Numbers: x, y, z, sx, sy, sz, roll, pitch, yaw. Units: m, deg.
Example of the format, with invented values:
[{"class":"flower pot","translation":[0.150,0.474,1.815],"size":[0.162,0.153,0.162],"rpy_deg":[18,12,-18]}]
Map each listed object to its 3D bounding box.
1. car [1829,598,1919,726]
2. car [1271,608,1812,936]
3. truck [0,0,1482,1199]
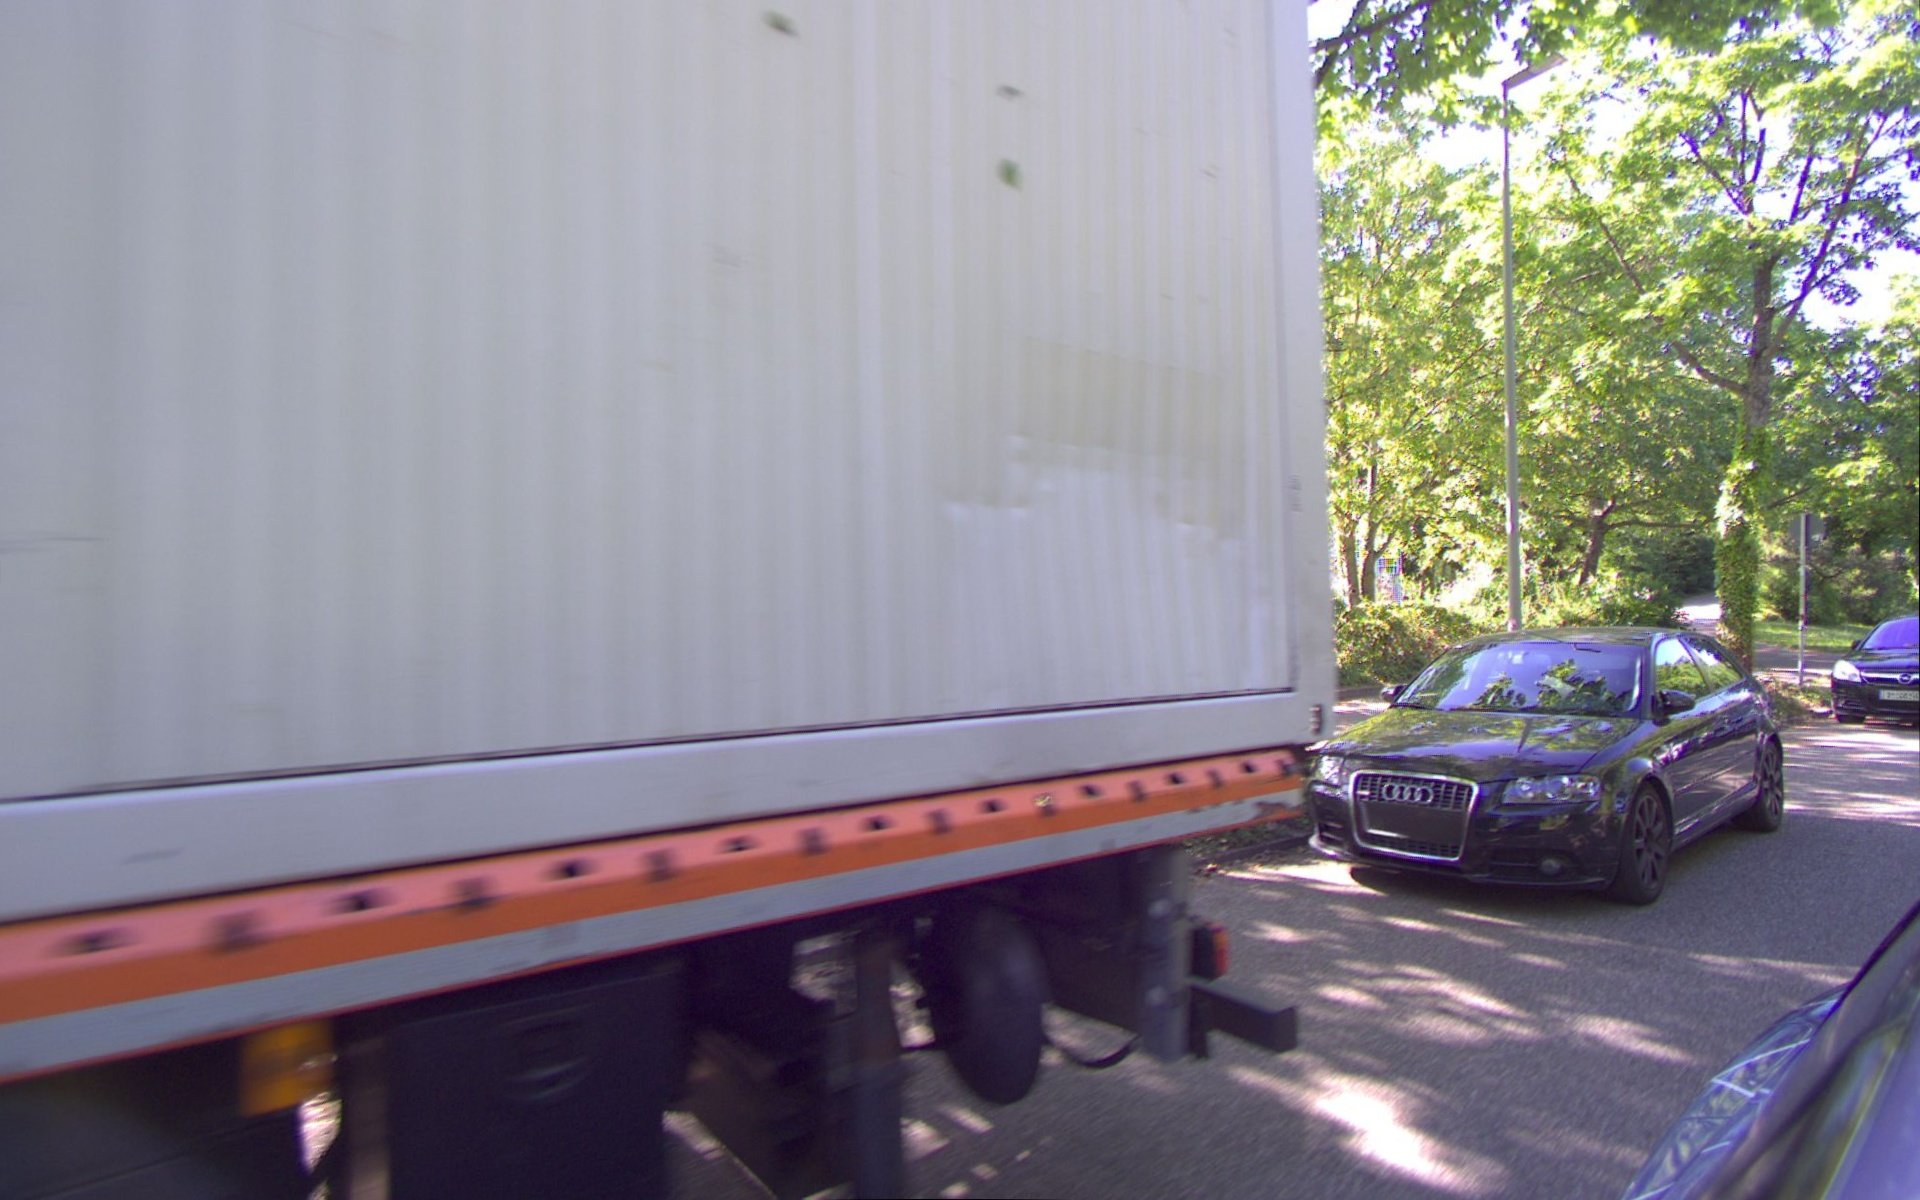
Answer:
[{"class":"car","translation":[13.083,0.719,13.132],"size":[3.954,1.499,1.753],"rpy_deg":[-1,-2,-35]},{"class":"car","translation":[3.816,0.795,6.368],"size":[3.928,1.438,1.643],"rpy_deg":[0,-2,-40]},{"class":"truck","translation":[-3.779,-0.504,0.589],"size":[10.152,4.048,2.780],"rpy_deg":[0,-3,-35]}]
